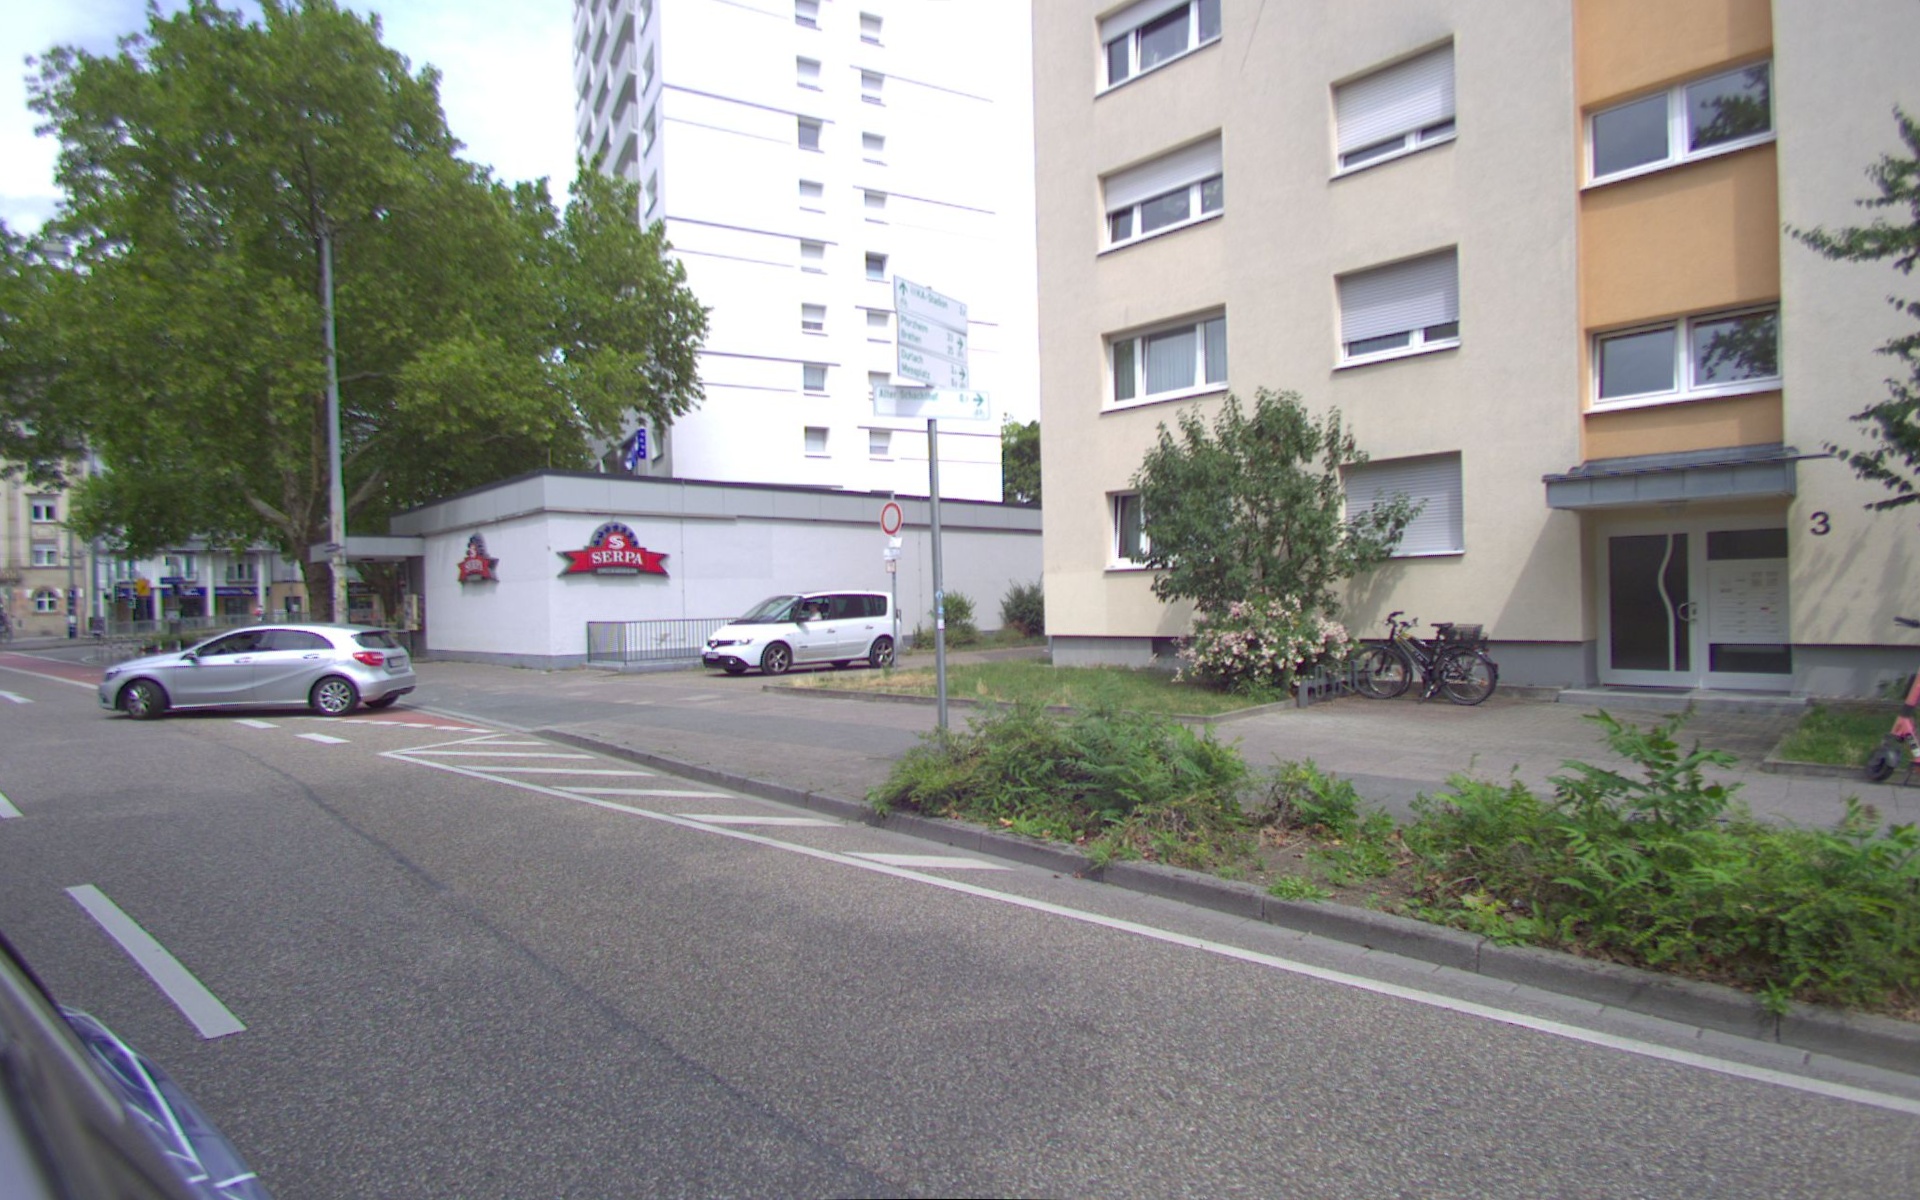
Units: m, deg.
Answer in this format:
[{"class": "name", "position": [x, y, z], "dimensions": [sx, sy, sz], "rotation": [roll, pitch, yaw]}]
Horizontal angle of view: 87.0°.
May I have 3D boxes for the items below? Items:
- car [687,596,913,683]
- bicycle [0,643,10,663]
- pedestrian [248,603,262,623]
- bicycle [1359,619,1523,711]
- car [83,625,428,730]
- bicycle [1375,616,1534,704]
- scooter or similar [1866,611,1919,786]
[{"class": "car", "position": [-3.369, 0.799, 21.894], "dimensions": [4.575, 1.699, 1.851], "rotation": [0, -2, -42]}, {"class": "bicycle", "position": [-53.693, 2.938, 55.711], "dimensions": [1.937, 1.103, 0.628], "rotation": [1, -3, -32]}, {"class": "pedestrian", "position": [-55.827, 0.991, 80.182], "dimensions": [0.825, 1.564, 0.870], "rotation": [0, 0, -29]}, {"class": "bicycle", "position": [5.901, 0.766, 12.508], "dimensions": [0.406, 1.045, 1.808], "rotation": [-1, -1, -39]}, {"class": "car", "position": [-10.962, 1.162, 16.066], "dimensions": [4.117, 1.462, 1.853], "rotation": [-1, -1, -11]}, {"class": "bicycle", "position": [6.303, 0.737, 12.989], "dimensions": [0.406, 1.045, 1.807], "rotation": [-1, -1, -41]}, {"class": "scooter or similar", "position": [7.044, 0.678, 6.842], "dimensions": [0.396, 1.202, 1.293], "rotation": [-3, 1, -37]}]
